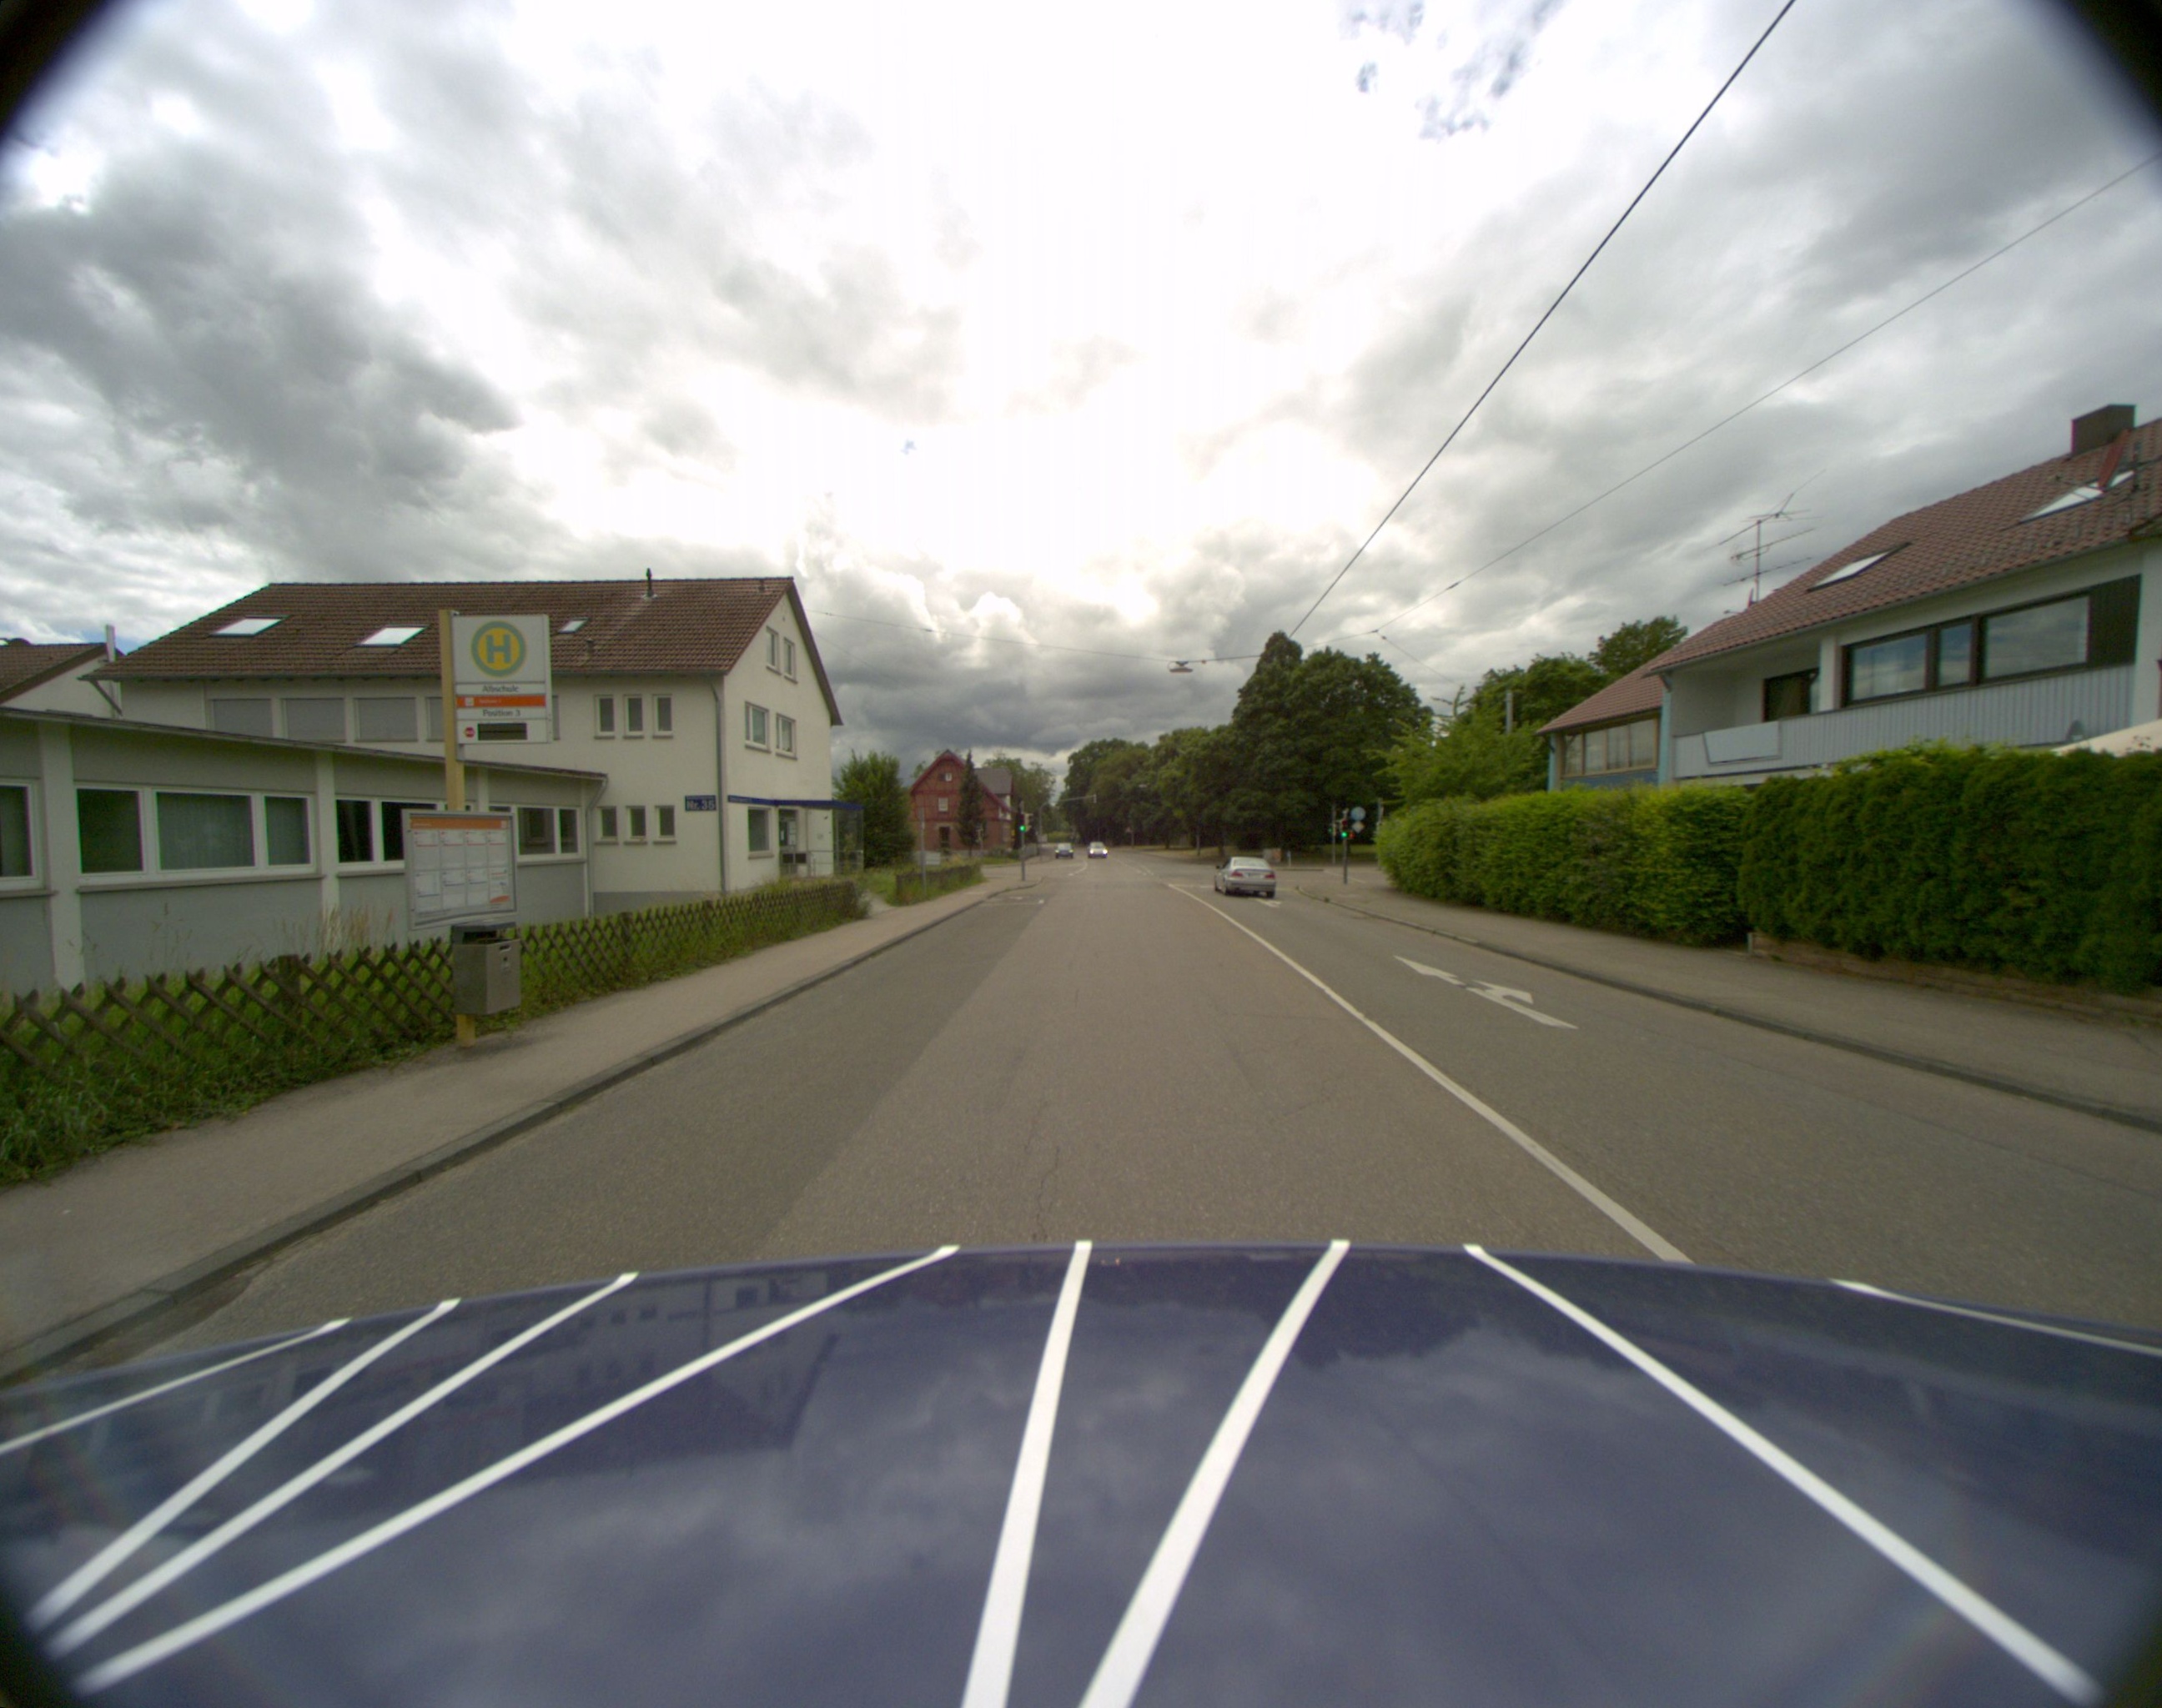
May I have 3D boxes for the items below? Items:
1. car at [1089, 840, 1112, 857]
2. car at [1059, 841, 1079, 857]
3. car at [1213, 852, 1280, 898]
[{"bbox_3d":[1.952,-0.596,76.497,1.781,1.510,3.554,-3,2,-6],"label":"car"},{"bbox_3d":[-1.235,-0.516,77.065,1.926,1.510,3.998,-1,2,0],"label":"car"},{"bbox_3d":[5.838,0.702,27.289,1.716,1.346,4.084,4,1,4],"label":"car"}]
